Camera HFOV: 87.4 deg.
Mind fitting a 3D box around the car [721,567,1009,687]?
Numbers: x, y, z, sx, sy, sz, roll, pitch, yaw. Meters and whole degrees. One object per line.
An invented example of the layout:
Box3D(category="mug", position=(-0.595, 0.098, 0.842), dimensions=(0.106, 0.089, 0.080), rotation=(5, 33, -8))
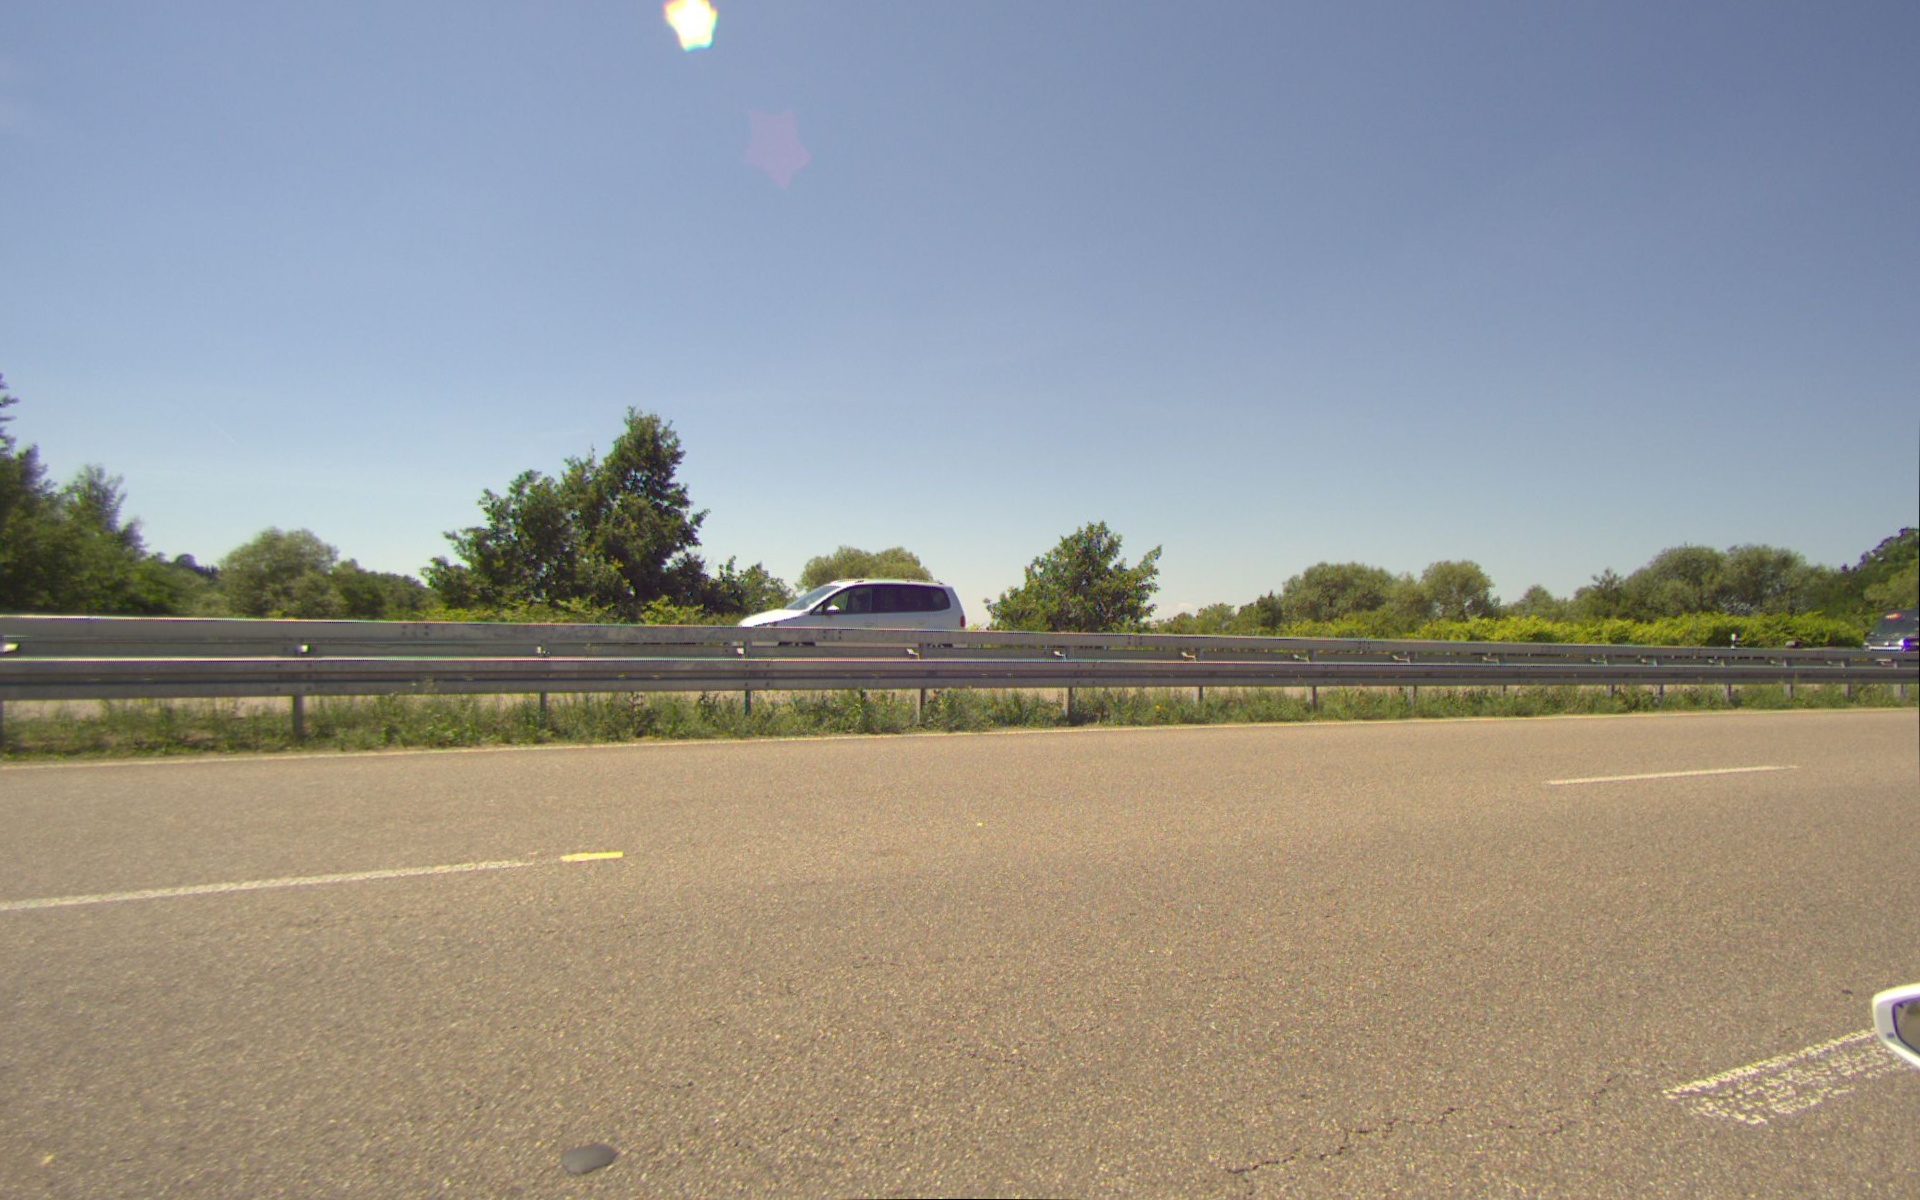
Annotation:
Box3D(category="car", position=(-1.756, 0.537, 18.783), dimensions=(4.849, 1.918, 2.196), rotation=(3, -1, -27))

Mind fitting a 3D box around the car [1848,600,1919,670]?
Box3D(category="car", position=(38.820, 1.471, 40.634), dimensions=(5.548, 2.672, 2.198), rotation=(3, -1, -24))
